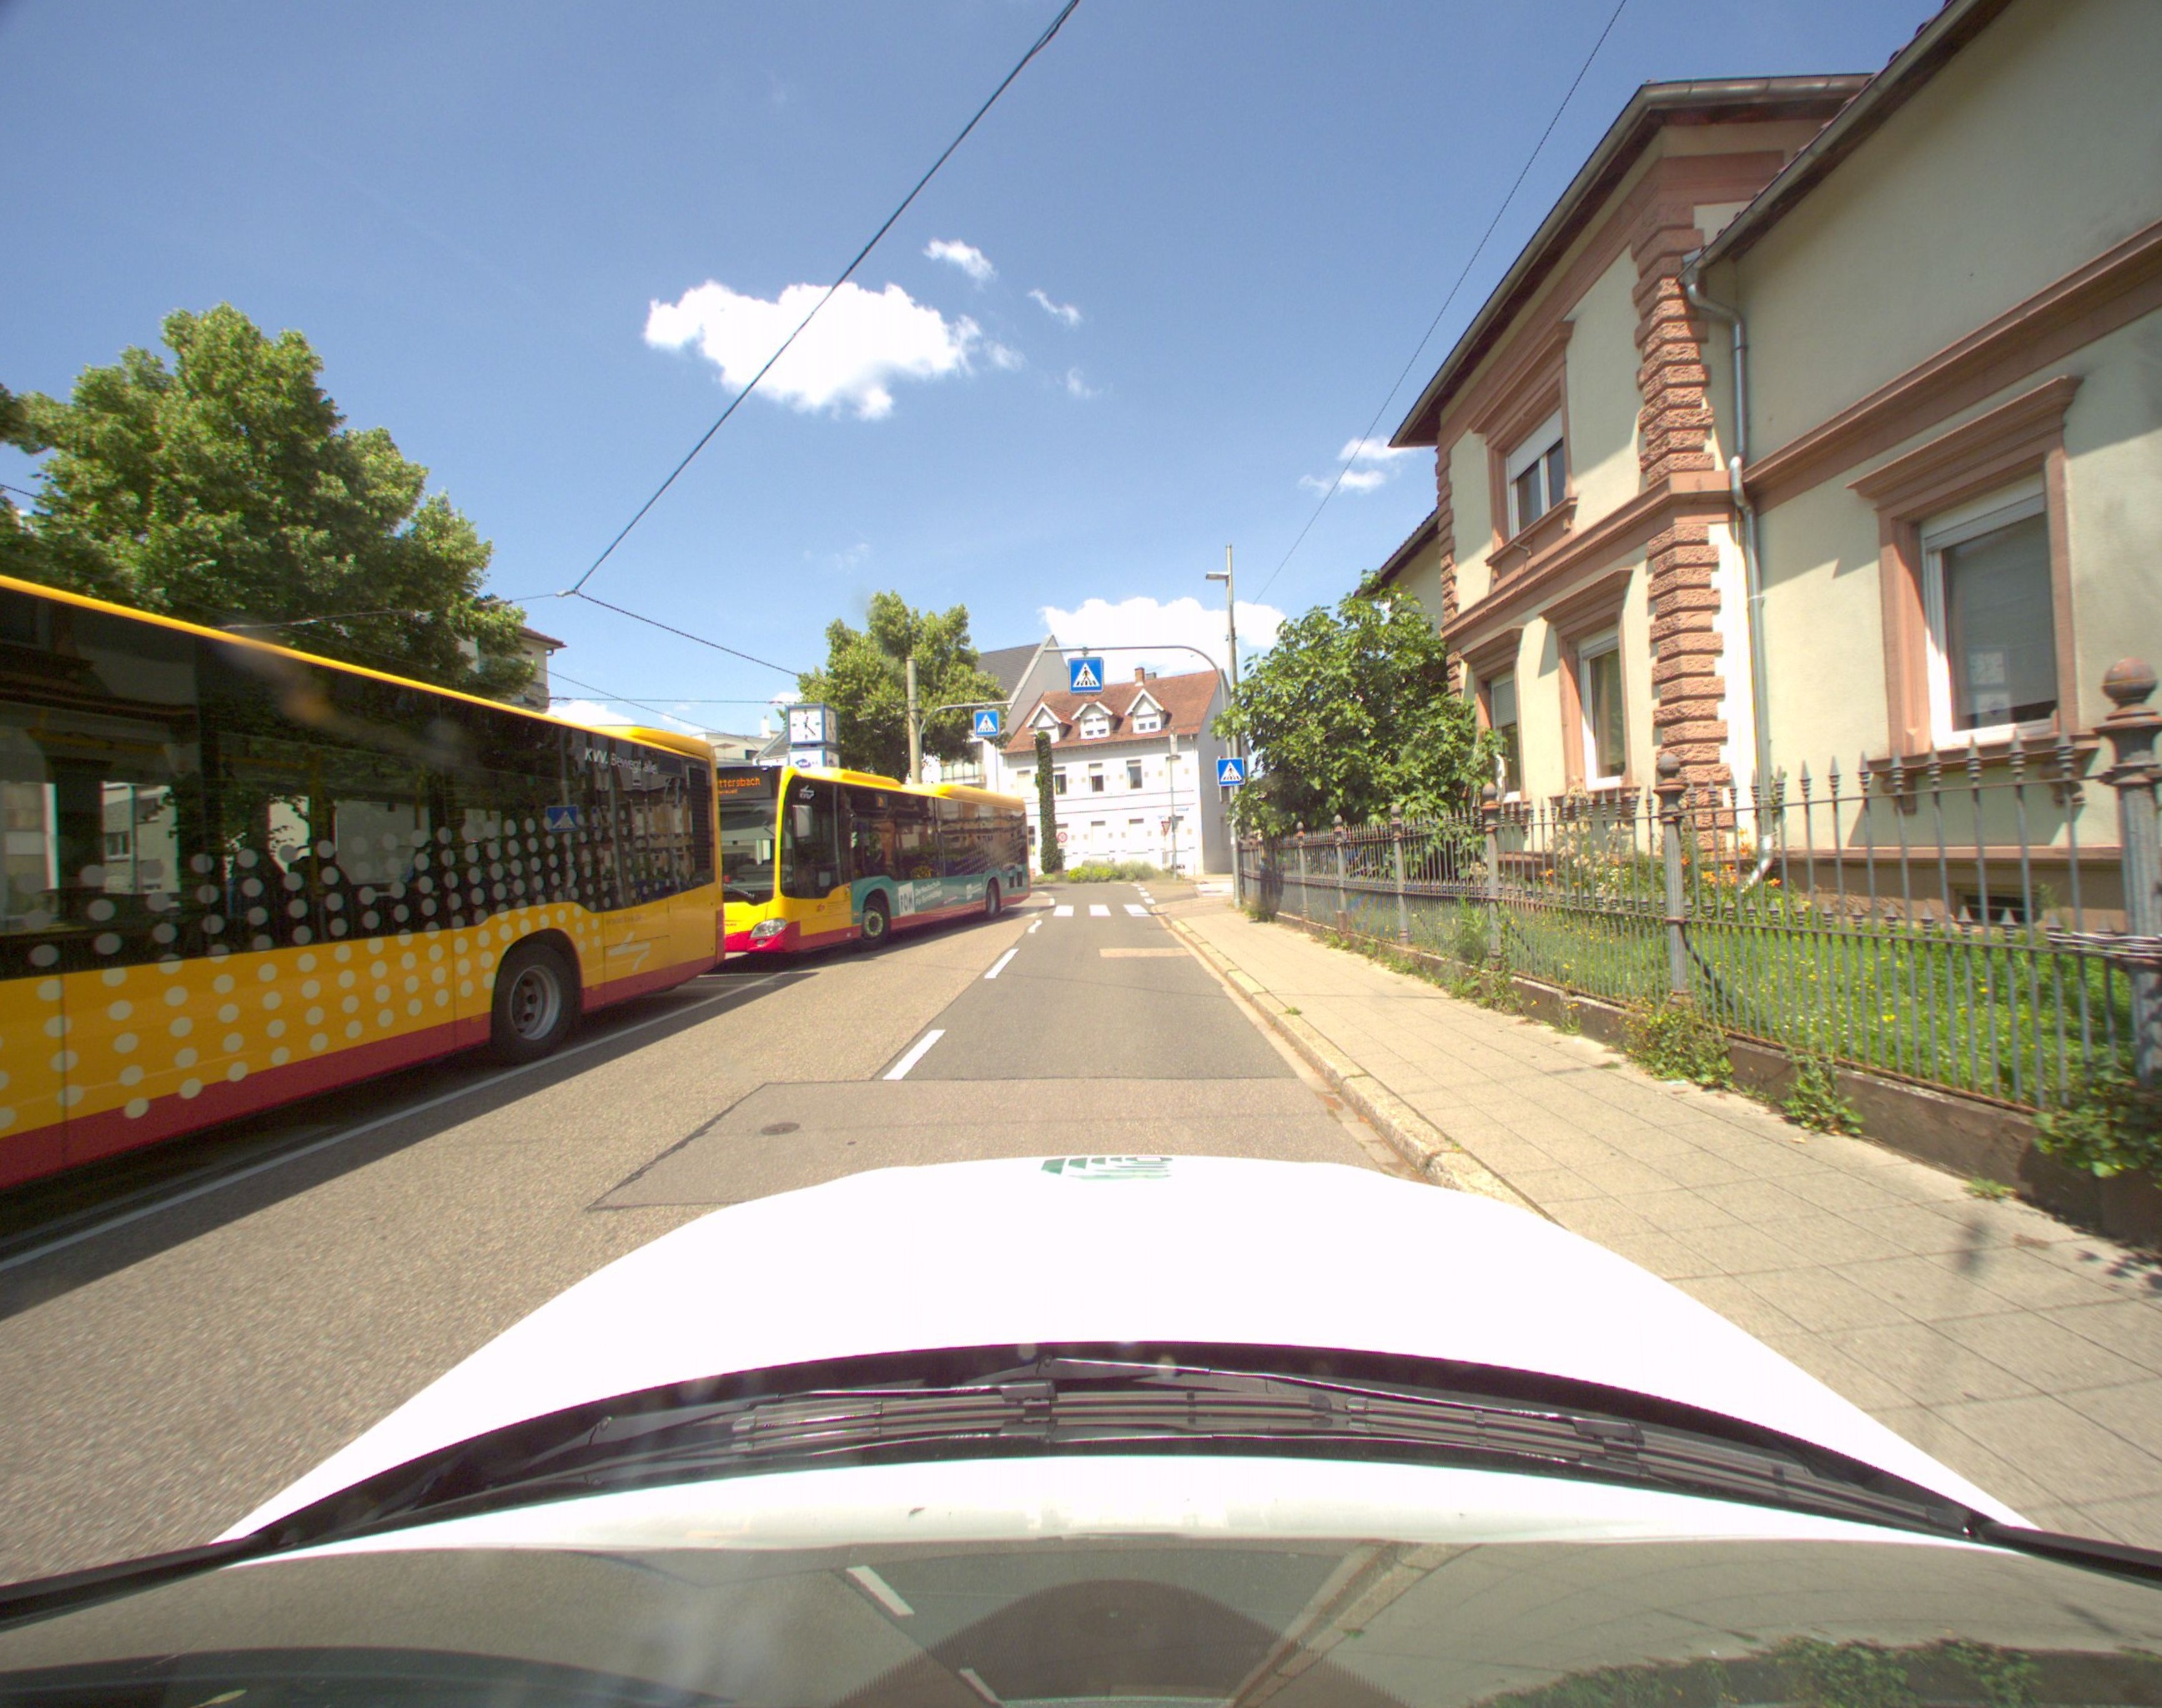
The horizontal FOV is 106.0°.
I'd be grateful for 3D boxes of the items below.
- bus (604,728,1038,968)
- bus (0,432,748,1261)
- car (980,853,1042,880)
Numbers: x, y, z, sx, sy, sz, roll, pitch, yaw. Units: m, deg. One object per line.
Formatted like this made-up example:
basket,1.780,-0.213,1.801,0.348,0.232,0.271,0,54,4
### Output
bus,-3.967,-0.123,17.201,2.760,3.208,12.350,-1,0,13
bus,-5.668,-0.012,3.991,2.897,3.248,12.119,-1,-1,1
car,-4.357,0.770,50.456,3.571,1.587,1.594,-2,-2,32
